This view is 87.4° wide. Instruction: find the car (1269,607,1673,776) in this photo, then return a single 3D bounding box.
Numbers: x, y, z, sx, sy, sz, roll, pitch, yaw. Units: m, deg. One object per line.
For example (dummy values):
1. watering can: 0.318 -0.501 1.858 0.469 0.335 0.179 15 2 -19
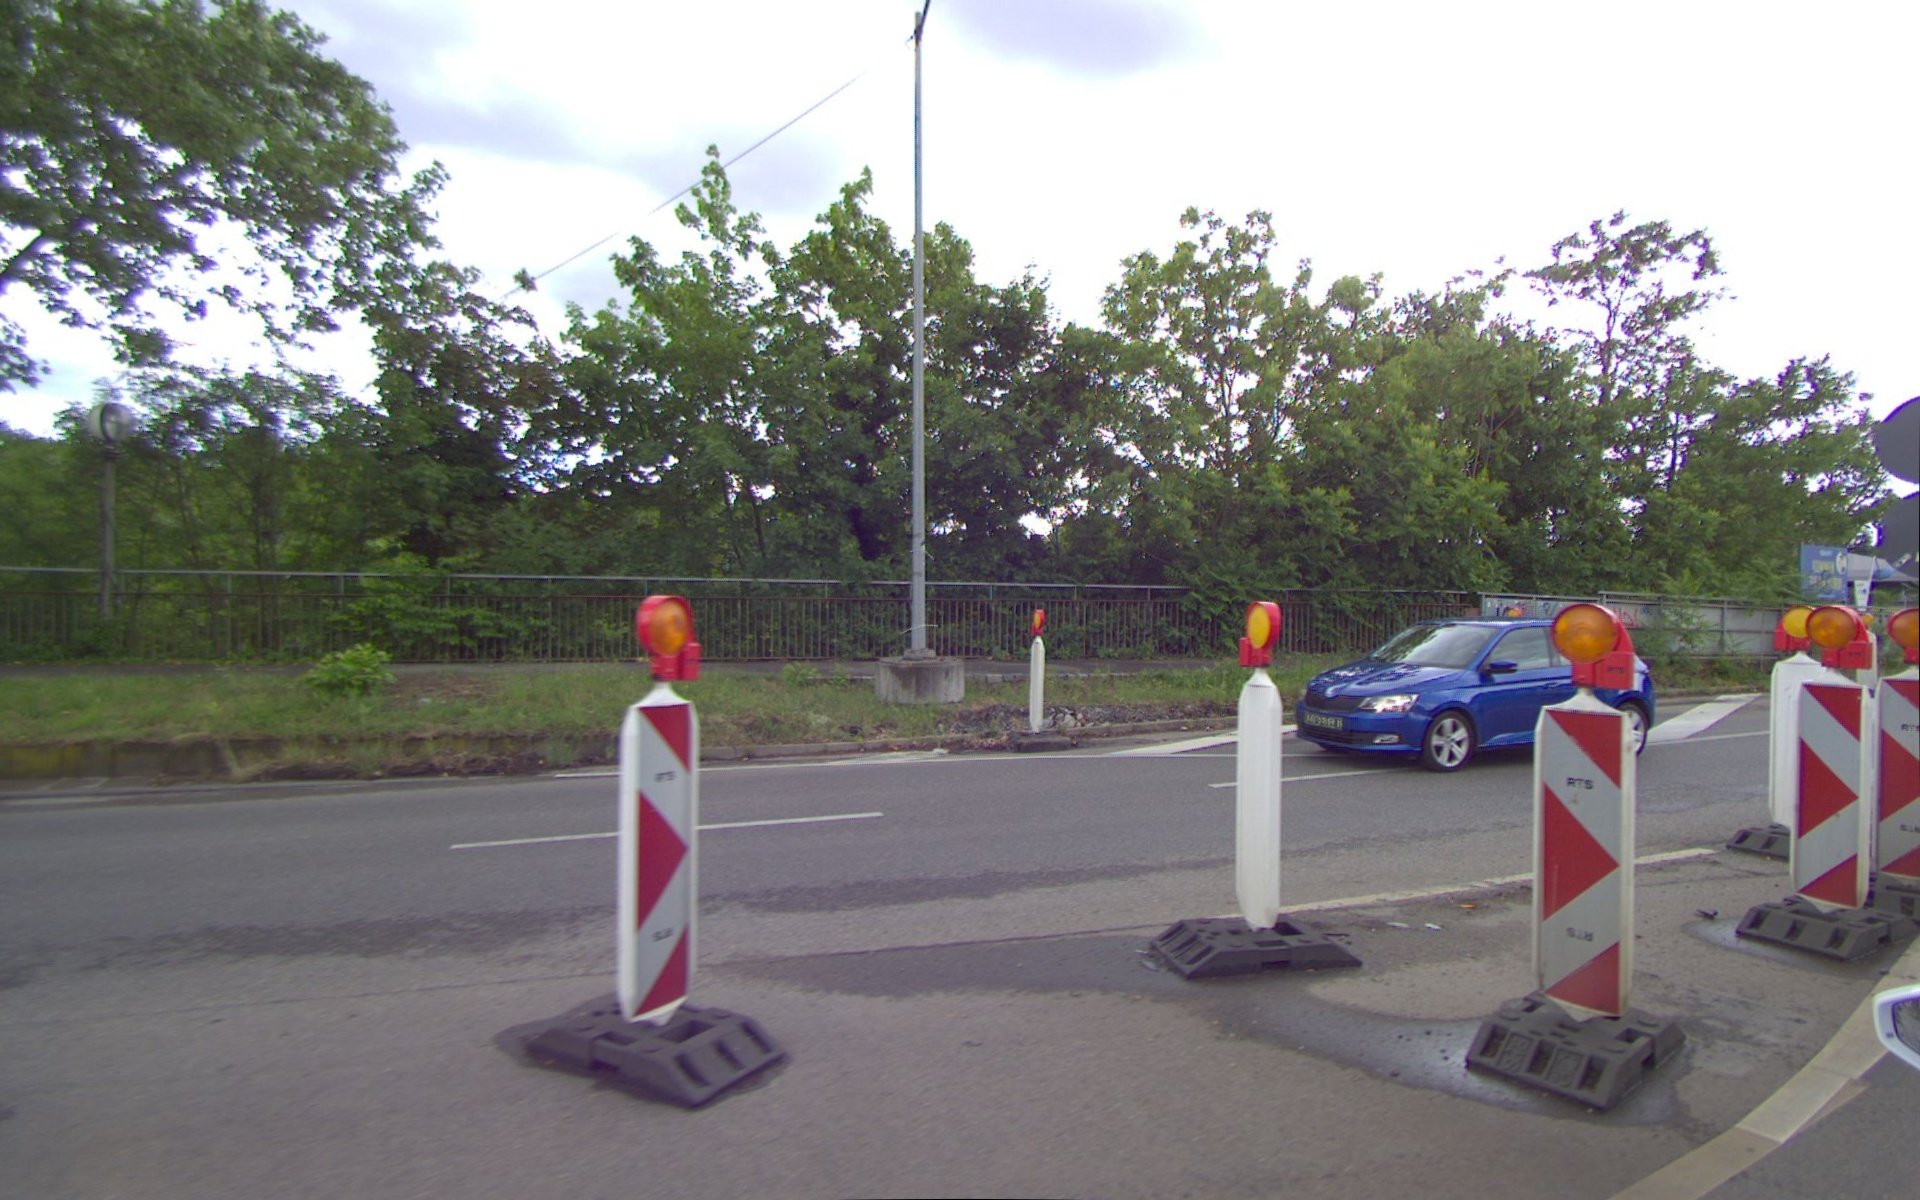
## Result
1. car: 5.366 0.841 10.581 3.855 1.481 1.692 -1 0 -22
